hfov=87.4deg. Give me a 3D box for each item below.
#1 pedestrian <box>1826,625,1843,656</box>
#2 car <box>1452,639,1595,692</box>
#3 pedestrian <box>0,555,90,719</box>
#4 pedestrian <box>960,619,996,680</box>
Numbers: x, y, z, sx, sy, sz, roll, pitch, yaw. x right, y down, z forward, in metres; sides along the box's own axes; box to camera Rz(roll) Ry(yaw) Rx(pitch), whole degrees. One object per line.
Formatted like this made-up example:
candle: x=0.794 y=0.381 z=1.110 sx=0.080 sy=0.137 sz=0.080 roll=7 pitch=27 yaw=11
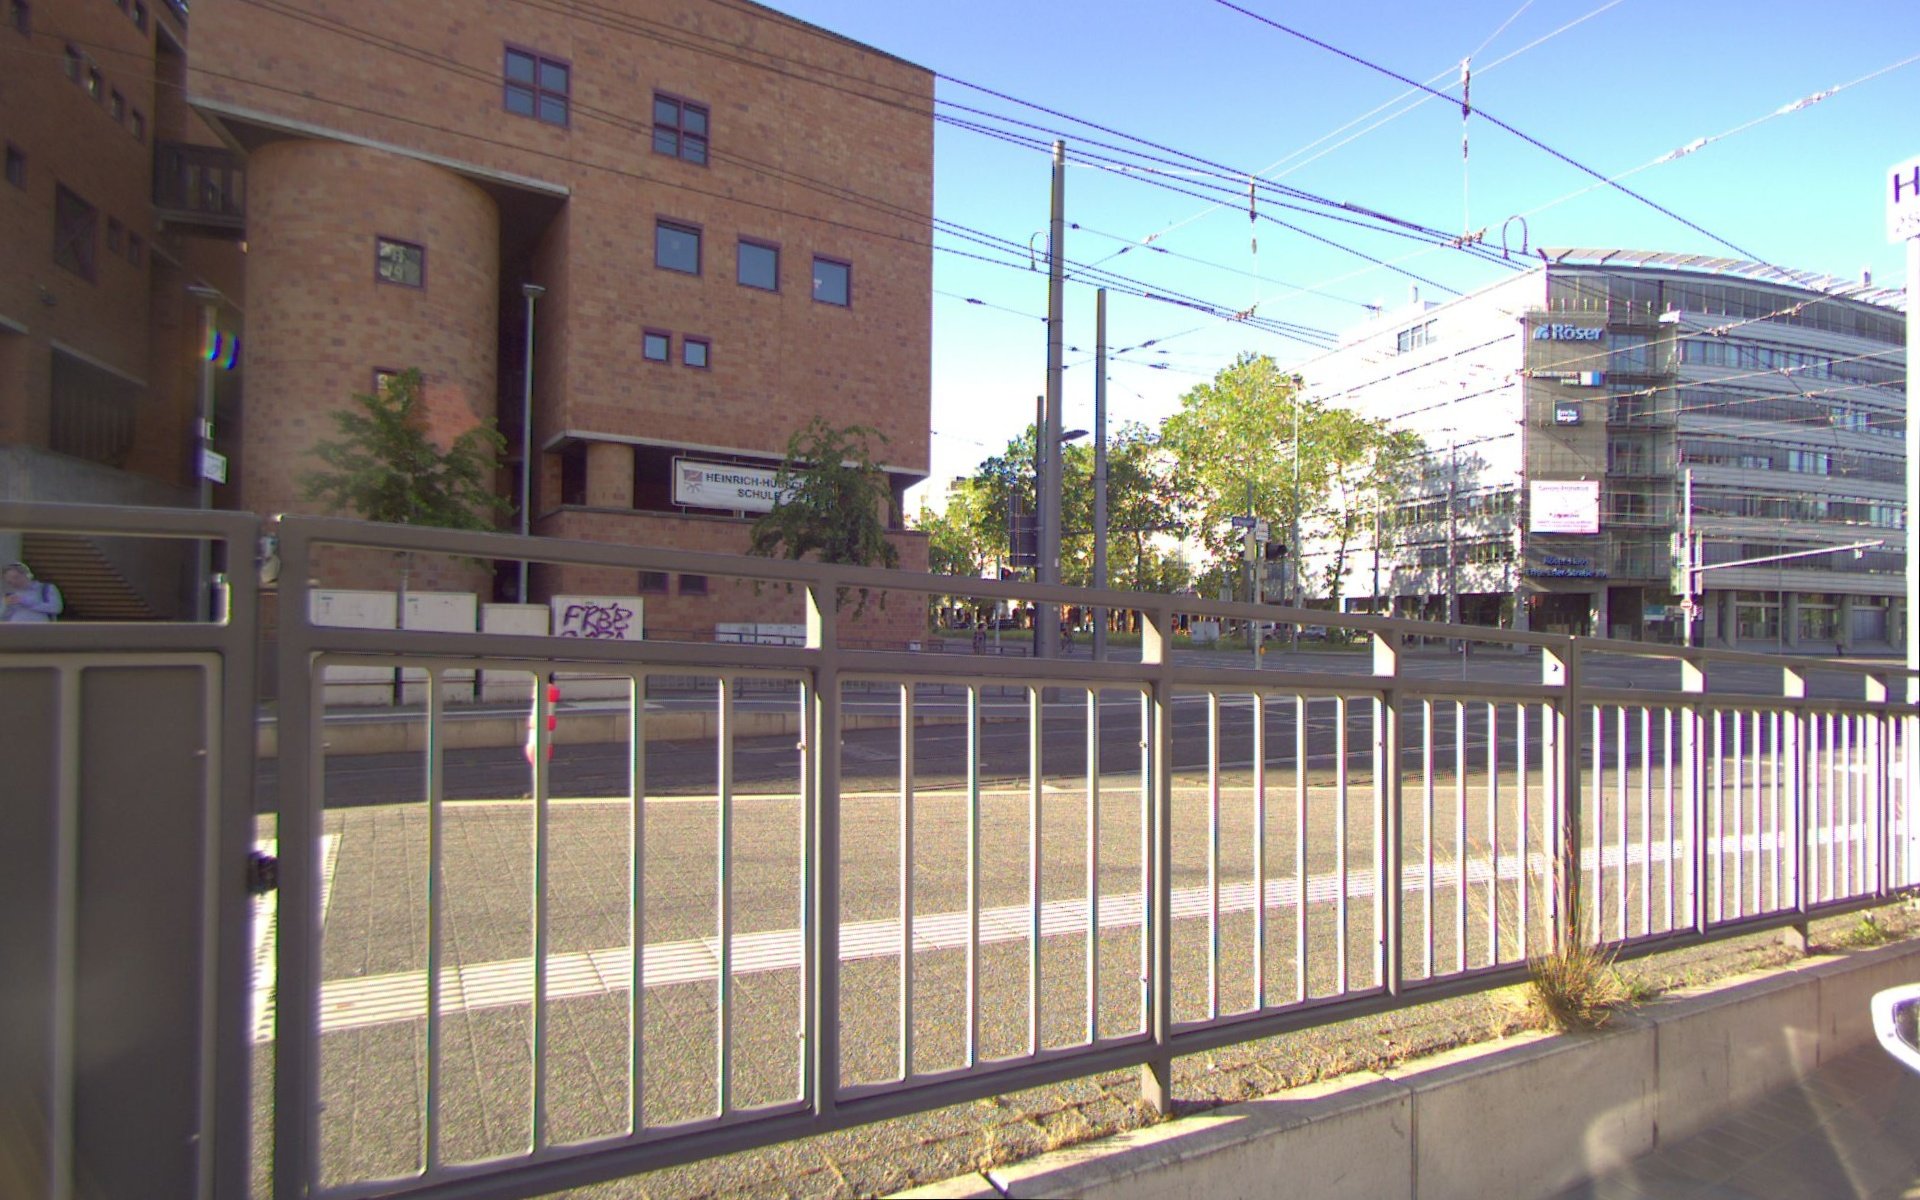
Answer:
pedestrian: x=59.458 y=2.749 z=68.264 sx=0.745 sy=2.040 sz=0.627 roll=2 pitch=0 yaw=-30
car: x=13.655 y=1.559 z=24.406 sx=2.841 sy=1.077 sz=1.238 roll=2 pitch=0 yaw=40
pedestrian: x=-9.678 y=0.380 z=10.556 sx=0.679 sy=1.656 sz=0.662 roll=2 pitch=0 yaw=-34
pedestrian: x=0.519 y=1.423 z=29.093 sx=0.785 sy=1.714 sz=0.587 roll=2 pitch=0 yaw=-29
